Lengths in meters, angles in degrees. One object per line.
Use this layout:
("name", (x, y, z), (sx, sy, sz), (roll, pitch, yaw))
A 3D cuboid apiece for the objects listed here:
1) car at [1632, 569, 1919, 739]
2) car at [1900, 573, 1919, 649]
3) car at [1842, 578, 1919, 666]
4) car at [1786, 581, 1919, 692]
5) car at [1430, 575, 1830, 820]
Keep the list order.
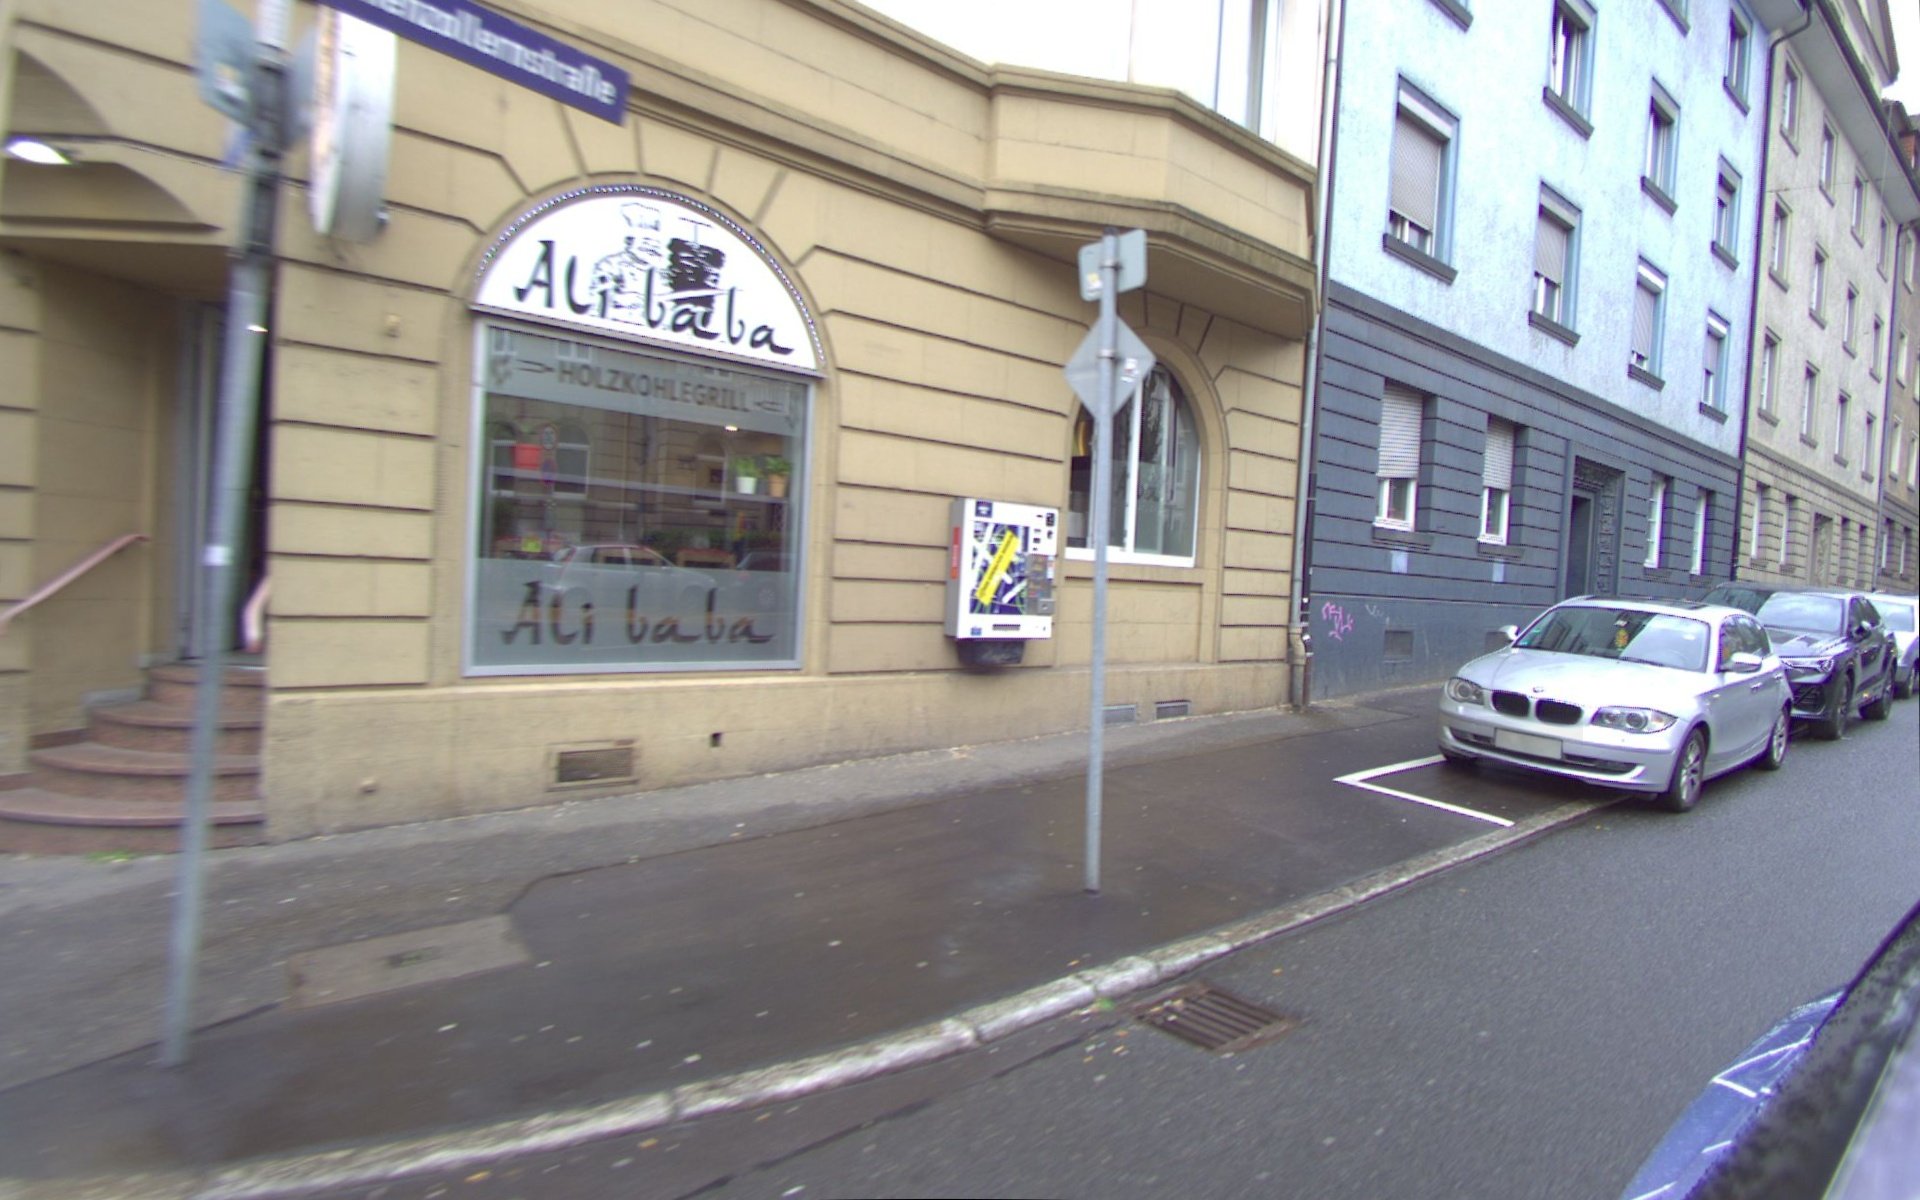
("car", (9.768, 0.492, 11.955), (4.216, 1.576, 1.823), (-1, 5, -40))
("car", (22.864, 0.253, 22.899), (4.135, 1.640, 1.845), (-1, 5, -41))
("car", (18.196, 0.401, 19.053), (3.903, 1.446, 1.734), (0, 5, -40))
("car", (14.451, 0.502, 15.888), (3.531, 1.446, 1.587), (0, 5, -40))
("car", (5.660, 0.593, 8.361), (4.016, 1.481, 1.574), (-1, 5, -40))
